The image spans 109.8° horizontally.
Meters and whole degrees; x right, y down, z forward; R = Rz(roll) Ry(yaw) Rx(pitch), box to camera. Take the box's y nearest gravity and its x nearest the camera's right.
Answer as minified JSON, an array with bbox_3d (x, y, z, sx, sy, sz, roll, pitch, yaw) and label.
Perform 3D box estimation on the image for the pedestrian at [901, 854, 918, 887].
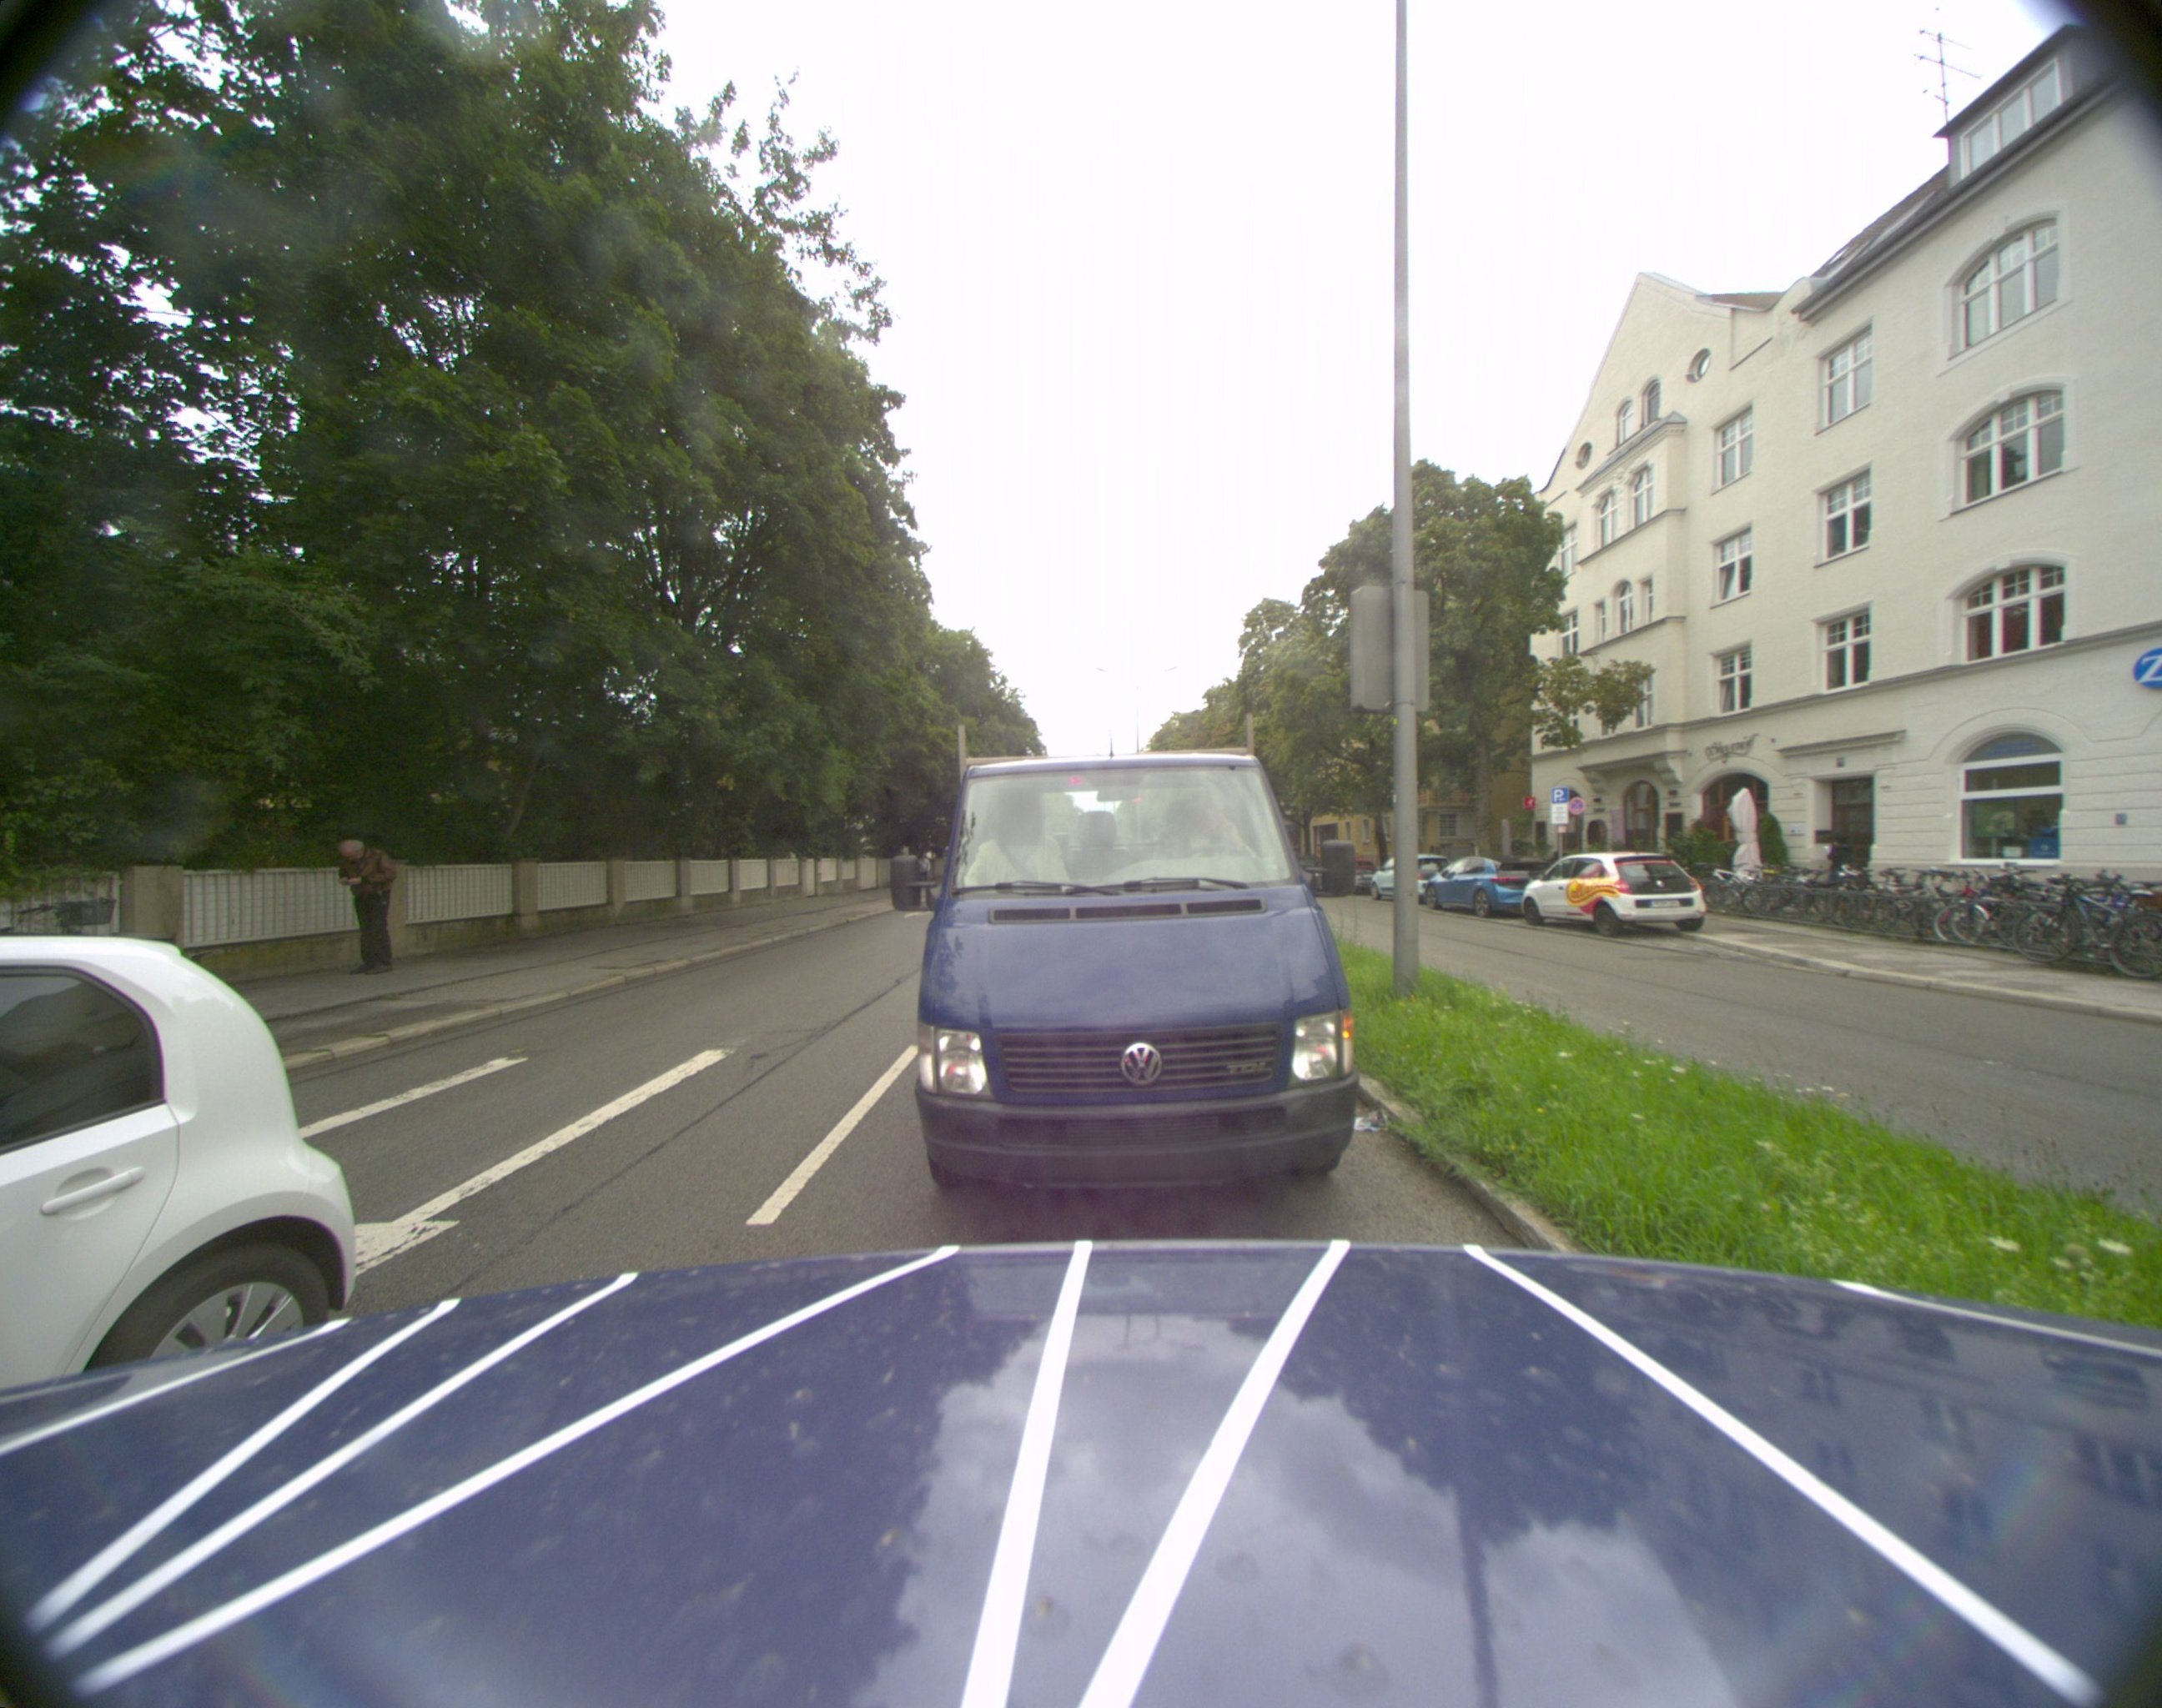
[{"bbox_3d":[-8.923,0.830,39.565,0.668,1.695,0.766,1,1,0],"label":"pedestrian"}]

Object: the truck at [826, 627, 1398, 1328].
[{"bbox_3d":[0.153,0.444,5.280,1.998,2.475,5.151,-1,0,1],"label":"truck"}]

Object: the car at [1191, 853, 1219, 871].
[{"bbox_3d":[11.358,0.706,69.785,1.883,1.636,4.770,-1,0,1],"label":"car"}]

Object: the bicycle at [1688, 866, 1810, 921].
[{"bbox_3d":[14.718,0.844,16.805,0.460,1.109,1.961,-1,0,-31],"label":"bicycle"}]

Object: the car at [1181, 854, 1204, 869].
[{"bbox_3d":[11.102,0.726,75.715,1.696,1.446,4.492,-1,0,1],"label":"car"}]

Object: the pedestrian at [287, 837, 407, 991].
[{"bbox_3d":[-9.606,0.756,9.976,0.779,1.931,0.802,0,1,1],"label":"pedestrian"}]

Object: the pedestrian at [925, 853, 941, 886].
[{"bbox_3d":[-7.736,0.811,39.710,0.668,1.695,0.766,1,1,0],"label":"pedestrian"}]

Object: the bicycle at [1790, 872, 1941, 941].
[{"bbox_3d":[13.820,0.891,13.464,0.331,1.109,1.871,-1,0,-23],"label":"bicycle"}]

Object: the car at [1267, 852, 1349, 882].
[{"bbox_3d":[12.308,0.716,41.374,3.899,1.455,1.732,-2,0,-1],"label":"car"}]

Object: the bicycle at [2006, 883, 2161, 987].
[{"bbox_3d":[12.105,0.926,8.831,0.368,1.109,1.678,-1,0,-23],"label":"bicycle"}]

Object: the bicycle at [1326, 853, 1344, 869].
[{"bbox_3d":[19.330,0.528,57.881,0.771,1.215,1.930,-1,0,0],"label":"bicycle"}]

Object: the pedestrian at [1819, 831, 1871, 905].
[{"bbox_3d":[17.136,0.307,17.051,0.422,1.622,0.783,-1,1,7],"label":"pedestrian"}]

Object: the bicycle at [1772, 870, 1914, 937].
[{"bbox_3d":[14.007,0.874,14.043,0.331,1.109,1.871,-1,0,-23],"label":"bicycle"}]

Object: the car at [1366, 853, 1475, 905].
[{"bbox_3d":[10.897,0.756,24.710,1.815,1.498,3.960,-1,0,1],"label":"car"}]

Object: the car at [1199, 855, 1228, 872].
[{"bbox_3d":[11.115,0.768,63.859,1.731,1.398,4.363,-1,0,1],"label":"car"}]

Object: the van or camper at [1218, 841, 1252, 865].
[{"bbox_3d":[17.063,-0.105,84.461,2.351,2.564,6.851,-1,0,1],"label":"van or camper"}]

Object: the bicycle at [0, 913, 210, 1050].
[{"bbox_3d":[-9.848,1.190,7.291,0.624,1.084,2.026,-1,0,0],"label":"bicycle"}]

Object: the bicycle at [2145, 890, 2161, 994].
[{"bbox_3d":[12.096,0.953,7.584,0.331,1.109,1.678,-1,0,-23],"label":"bicycle"}]

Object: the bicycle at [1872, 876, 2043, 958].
[{"bbox_3d":[13.216,0.906,11.527,0.331,1.109,1.678,-1,0,-23],"label":"bicycle"}]

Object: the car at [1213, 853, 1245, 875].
[{"bbox_3d":[11.389,0.741,58.737,1.731,1.552,4.057,-1,0,1],"label":"car"}]

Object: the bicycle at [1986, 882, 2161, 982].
[{"bbox_3d":[12.353,0.919,9.260,0.331,1.109,1.678,-1,0,-23],"label":"bicycle"}]

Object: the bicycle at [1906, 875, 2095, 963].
[{"bbox_3d":[13.041,0.880,10.847,0.383,1.109,1.678,-1,0,-23],"label":"bicycle"}]

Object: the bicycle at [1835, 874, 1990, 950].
[{"bbox_3d":[13.396,0.892,12.311,0.331,1.109,1.678,-1,0,-23],"label":"bicycle"}]

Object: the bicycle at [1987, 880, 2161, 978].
[{"bbox_3d":[12.681,0.904,9.520,0.367,1.109,1.678,-1,0,-23],"label":"bicycle"}]

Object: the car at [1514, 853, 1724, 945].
[{"bbox_3d":[10.552,0.799,15.283,1.653,1.576,3.790,-1,0,2],"label":"car"}]

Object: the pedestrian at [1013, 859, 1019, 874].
[{"bbox_3d":[-6.711,1.305,79.007,0.529,1.572,0.729,1,1,0],"label":"pedestrian"}]

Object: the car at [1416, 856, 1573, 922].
[{"bbox_3d":[10.671,0.821,20.001,1.815,1.498,4.291,-1,0,1],"label":"car"}]

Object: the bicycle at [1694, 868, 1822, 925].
[{"bbox_3d":[14.438,0.877,16.276,0.505,1.109,1.984,-1,0,-31],"label":"bicycle"}]

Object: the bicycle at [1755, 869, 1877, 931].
[{"bbox_3d":[14.211,0.856,14.745,0.331,1.109,1.677,-1,0,-27],"label":"bicycle"}]

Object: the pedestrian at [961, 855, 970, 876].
[{"bbox_3d":[-8.623,0.839,56.649,0.529,1.572,0.729,1,1,0],"label":"pedestrian"}]

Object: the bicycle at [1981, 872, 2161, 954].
[{"bbox_3d":[14.769,0.836,11.359,0.331,1.109,1.678,-1,0,-23],"label":"bicycle"}]

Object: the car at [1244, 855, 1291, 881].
[{"bbox_3d":[10.956,0.799,44.833,1.731,1.394,4.404,-1,0,1],"label":"car"}]

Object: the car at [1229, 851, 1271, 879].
[{"bbox_3d":[11.145,0.684,50.393,1.815,1.718,4.767,-1,0,1],"label":"car"}]

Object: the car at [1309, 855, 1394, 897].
[{"bbox_3d":[10.746,0.828,30.556,1.815,1.498,4.645,-1,0,1],"label":"car"}]

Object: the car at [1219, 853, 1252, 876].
[{"bbox_3d":[11.154,0.754,54.953,1.731,1.549,3.009,-1,0,-1],"label":"car"}]

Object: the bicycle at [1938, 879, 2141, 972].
[{"bbox_3d":[12.841,0.914,10.256,0.331,1.109,1.678,-1,0,-23],"label":"bicycle"}]

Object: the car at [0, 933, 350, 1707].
[{"bbox_3d":[-3.002,1.027,0.447,1.647,1.553,3.586,-1,0,0],"label":"car"}]

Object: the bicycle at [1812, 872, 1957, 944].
[{"bbox_3d":[13.595,0.878,12.920,0.331,1.109,1.678,-1,0,-23],"label":"bicycle"}]

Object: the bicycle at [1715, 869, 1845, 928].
[{"bbox_3d":[14.255,0.870,15.564,0.550,1.109,1.877,-1,0,-31],"label":"bicycle"}]

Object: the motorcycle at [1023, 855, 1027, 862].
[{"bbox_3d":[-8.915,0.697,121.522,0.497,1.135,1.631,-1,0,-10],"label":"motorcycle"}]

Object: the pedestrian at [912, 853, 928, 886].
[{"bbox_3d":[-8.413,0.826,39.701,0.668,1.695,0.766,1,1,0],"label":"pedestrian"}]
